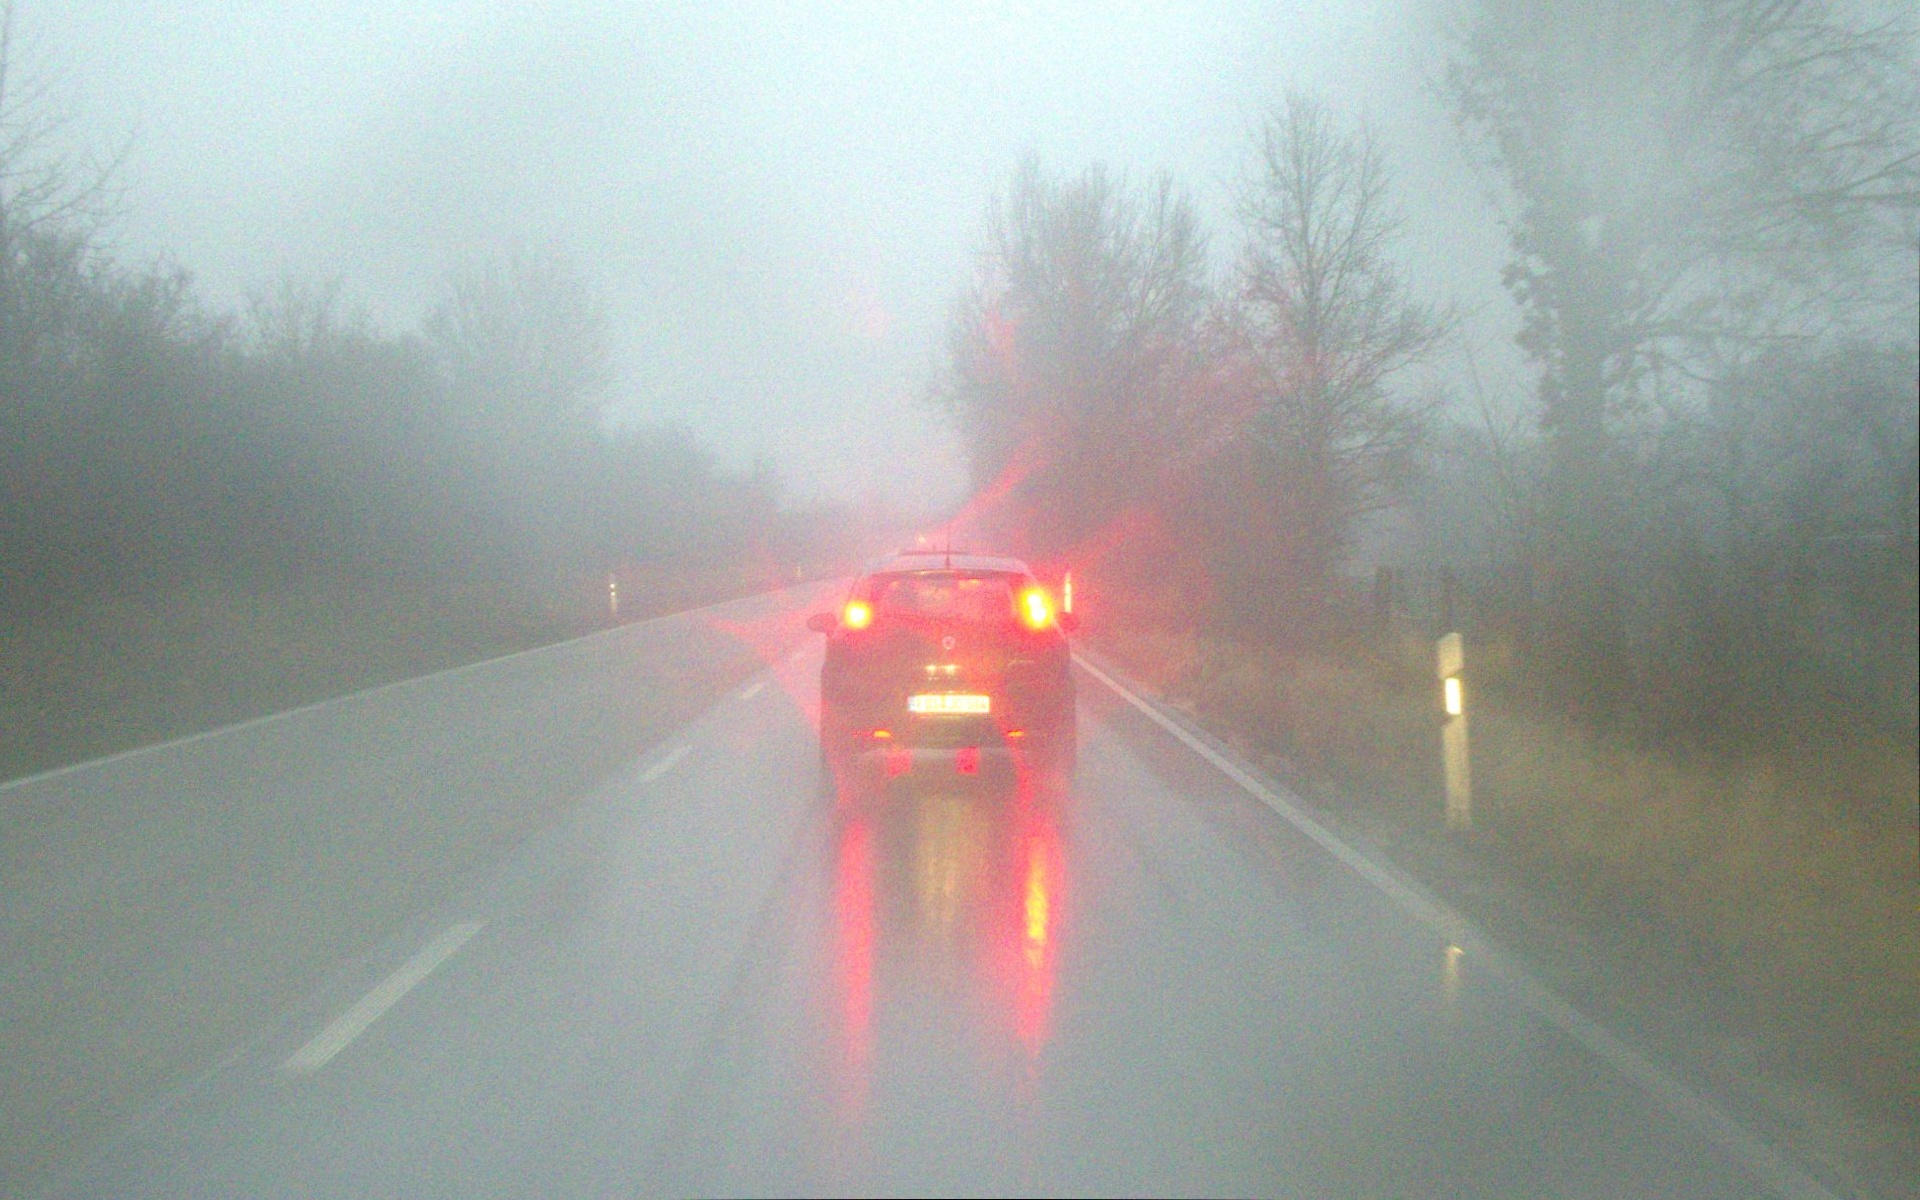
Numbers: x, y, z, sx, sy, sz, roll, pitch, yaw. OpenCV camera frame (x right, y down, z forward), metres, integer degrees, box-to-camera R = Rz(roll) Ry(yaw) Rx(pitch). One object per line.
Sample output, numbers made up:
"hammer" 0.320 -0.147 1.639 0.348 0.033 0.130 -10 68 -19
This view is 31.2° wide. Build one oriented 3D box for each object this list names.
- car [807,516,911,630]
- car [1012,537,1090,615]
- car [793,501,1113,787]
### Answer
"car" -1.692 -0.480 58.512 1.574 1.868 3.709 1 1 1
"car" 1.921 -0.522 72.109 1.564 1.586 3.488 1 1 2
"car" -0.012 0.241 23.698 1.993 1.778 4.000 1 1 1
